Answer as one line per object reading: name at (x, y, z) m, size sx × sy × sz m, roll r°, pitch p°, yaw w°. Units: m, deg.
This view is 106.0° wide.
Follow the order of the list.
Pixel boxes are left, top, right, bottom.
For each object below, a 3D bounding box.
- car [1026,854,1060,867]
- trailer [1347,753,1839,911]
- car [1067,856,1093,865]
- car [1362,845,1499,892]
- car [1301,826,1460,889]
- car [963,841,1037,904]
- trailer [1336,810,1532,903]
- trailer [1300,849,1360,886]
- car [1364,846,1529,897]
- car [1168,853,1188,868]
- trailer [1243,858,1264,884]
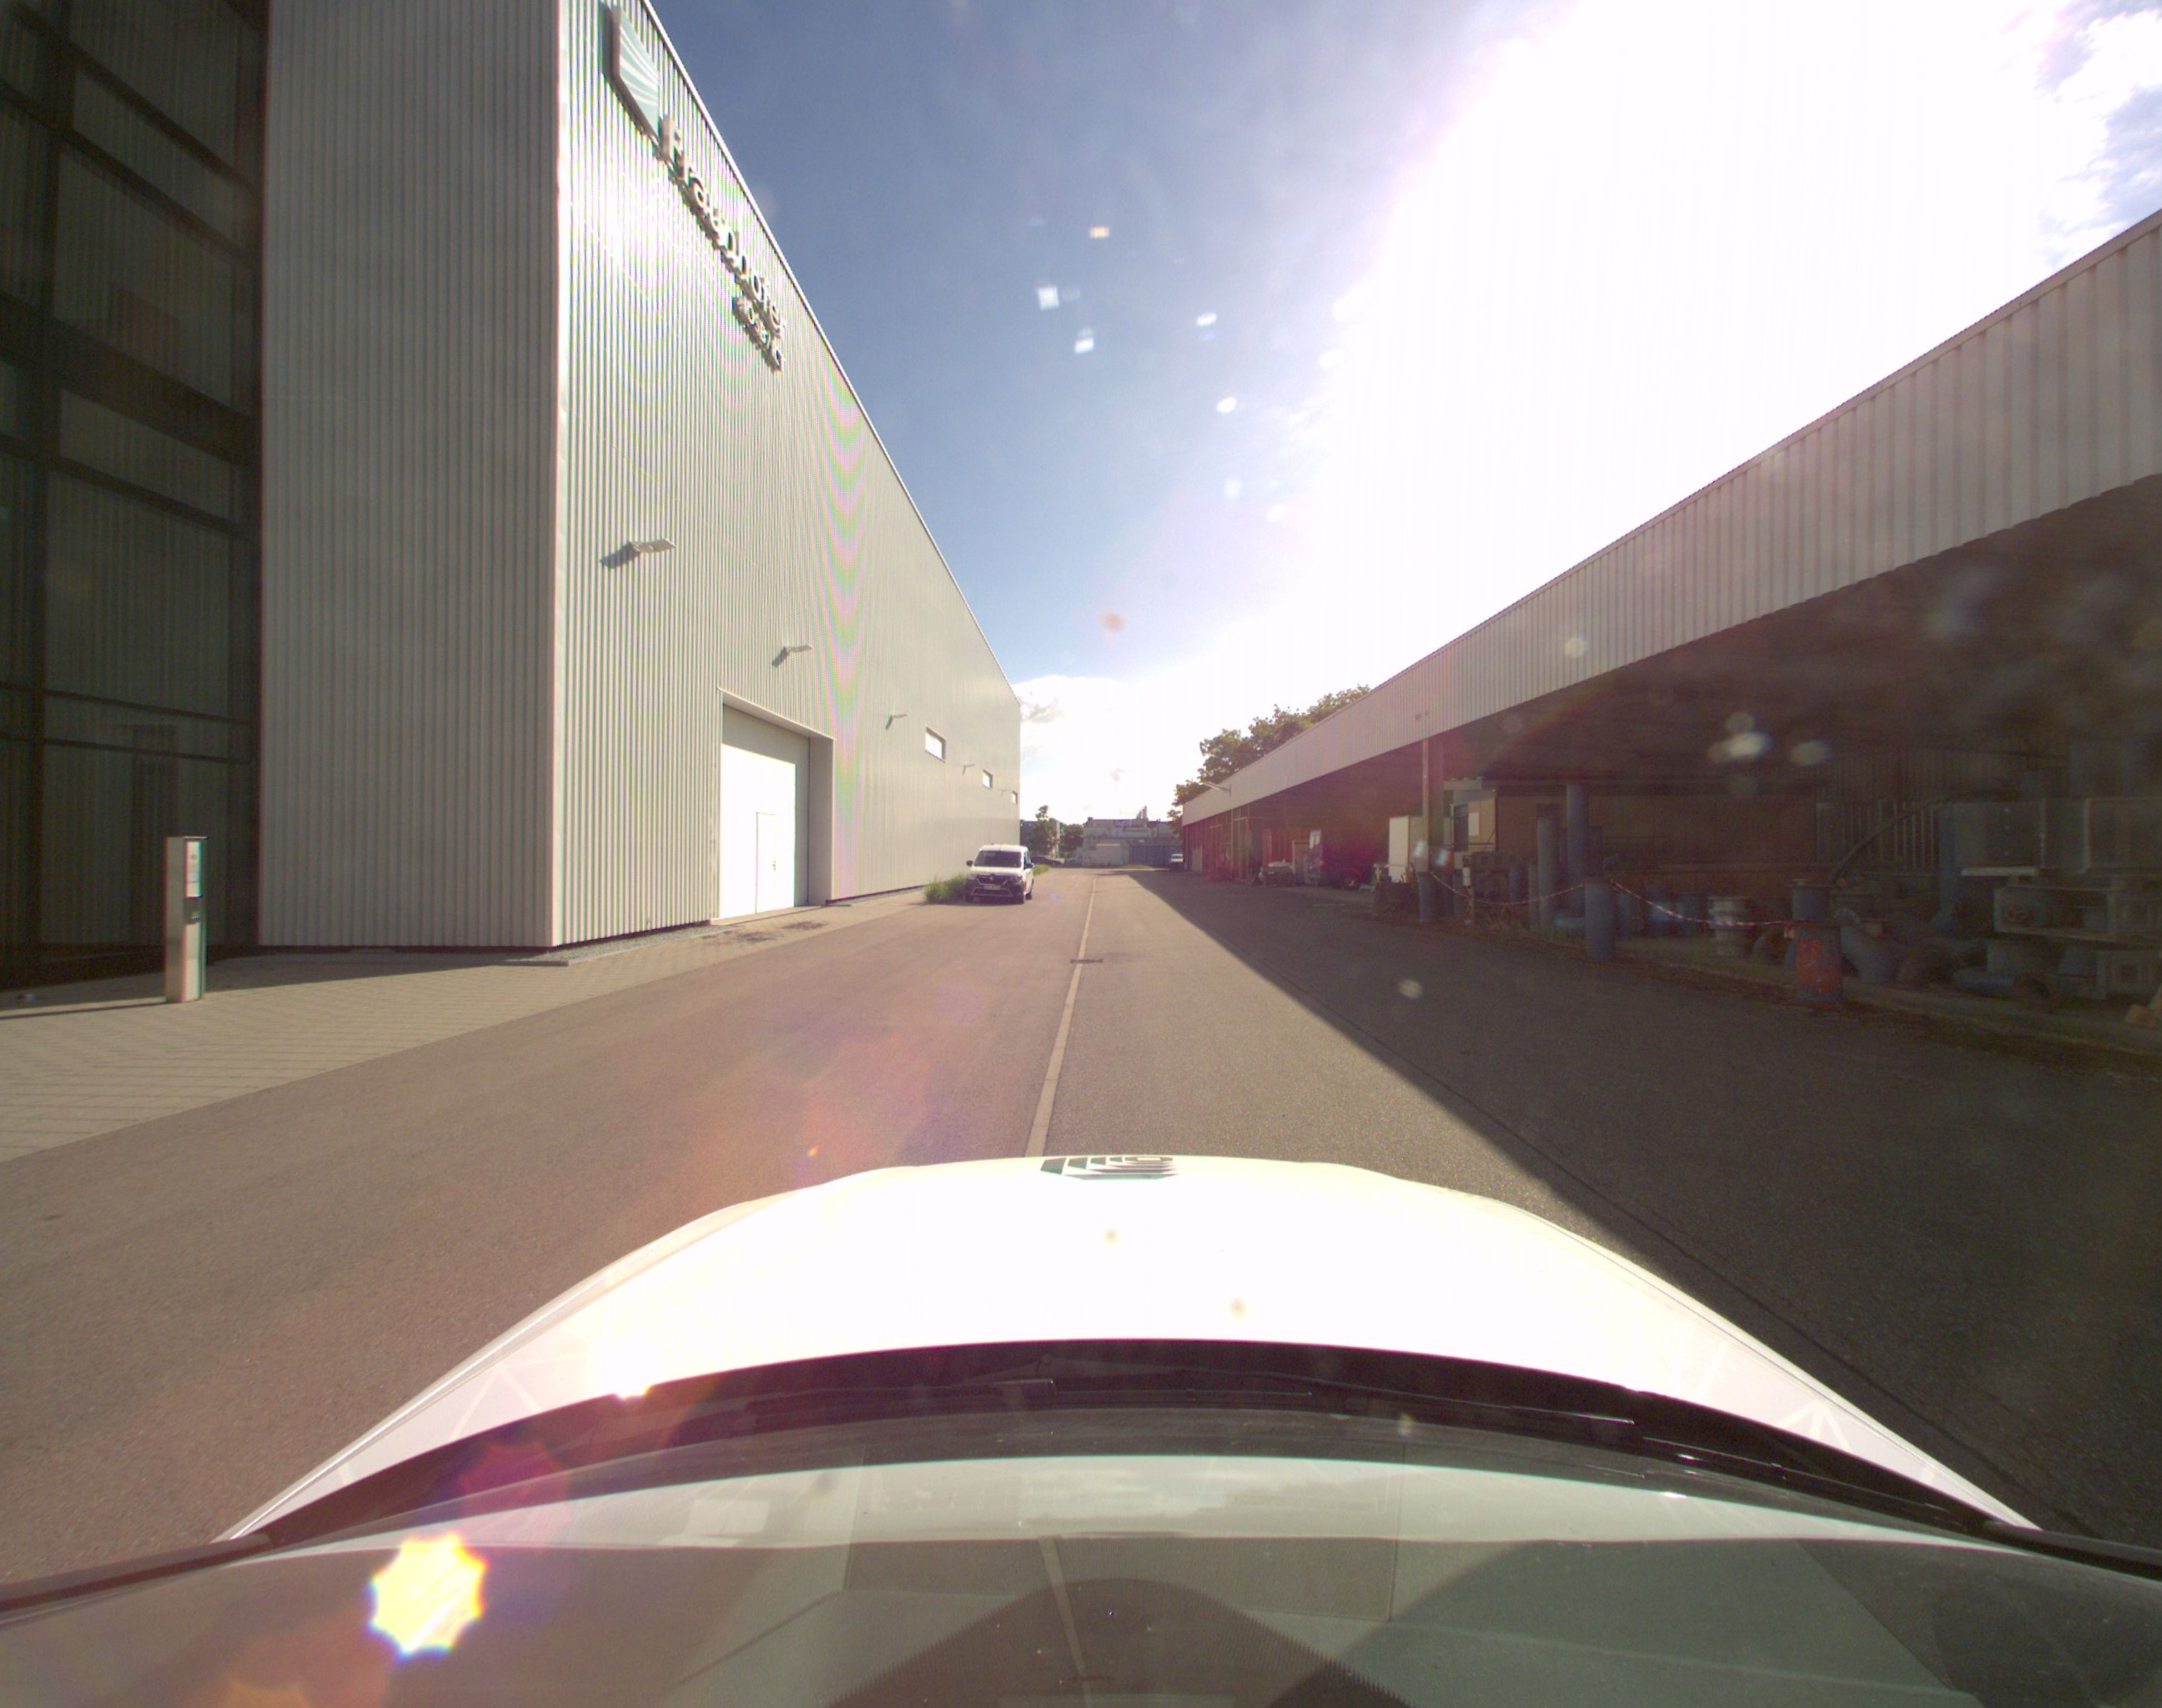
car at (-5.000, 0.859, 108.267) m, size 4.432 × 1.531 × 1.824 m, roll -1°, pitch -1°, yaw 0°
trailer at (12.121, -0.488, 20.007) m, size 10.230 × 3.343 × 2.802 m, roll -1°, pitch 0°, yaw 1°
car at (-0.131, 1.032, 136.111) m, size 4.288 × 1.457 × 1.824 m, roll -1°, pitch -1°, yaw 0°
car at (12.007, 0.503, 28.142) m, size 3.953 × 1.514 × 1.839 m, roll -1°, pitch -1°, yaw -2°
car at (11.399, 0.124, 31.307) m, size 5.314 × 2.281 × 2.152 m, roll -1°, pitch -1°, yaw 0°
car at (-2.497, 0.568, 26.263) m, size 1.777 × 1.816 × 4.602 m, roll 1°, pitch -1°, yaw 1°
trailer at (9.627, 0.077, 22.531) m, size 4.499 × 2.342 × 2.048 m, roll -1°, pitch -1°, yaw 2°
trailer at (10.347, 0.542, 33.930) m, size 2.028 × 1.466 × 1.741 m, roll -2°, pitch 0°, yaw 5°
car at (11.168, 0.518, 25.066) m, size 4.237 × 1.471 × 1.868 m, roll -1°, pitch 0°, yaw -2°
car at (11.324, 0.776, 95.614) m, size 1.971 × 1.602 × 4.381 m, roll -1°, pitch 1°, yaw 3°
trailer at (7.844, 0.774, 37.069) m, size 0.550 × 1.118 × 1.546 m, roll -1°, pitch -1°, yaw -1°
